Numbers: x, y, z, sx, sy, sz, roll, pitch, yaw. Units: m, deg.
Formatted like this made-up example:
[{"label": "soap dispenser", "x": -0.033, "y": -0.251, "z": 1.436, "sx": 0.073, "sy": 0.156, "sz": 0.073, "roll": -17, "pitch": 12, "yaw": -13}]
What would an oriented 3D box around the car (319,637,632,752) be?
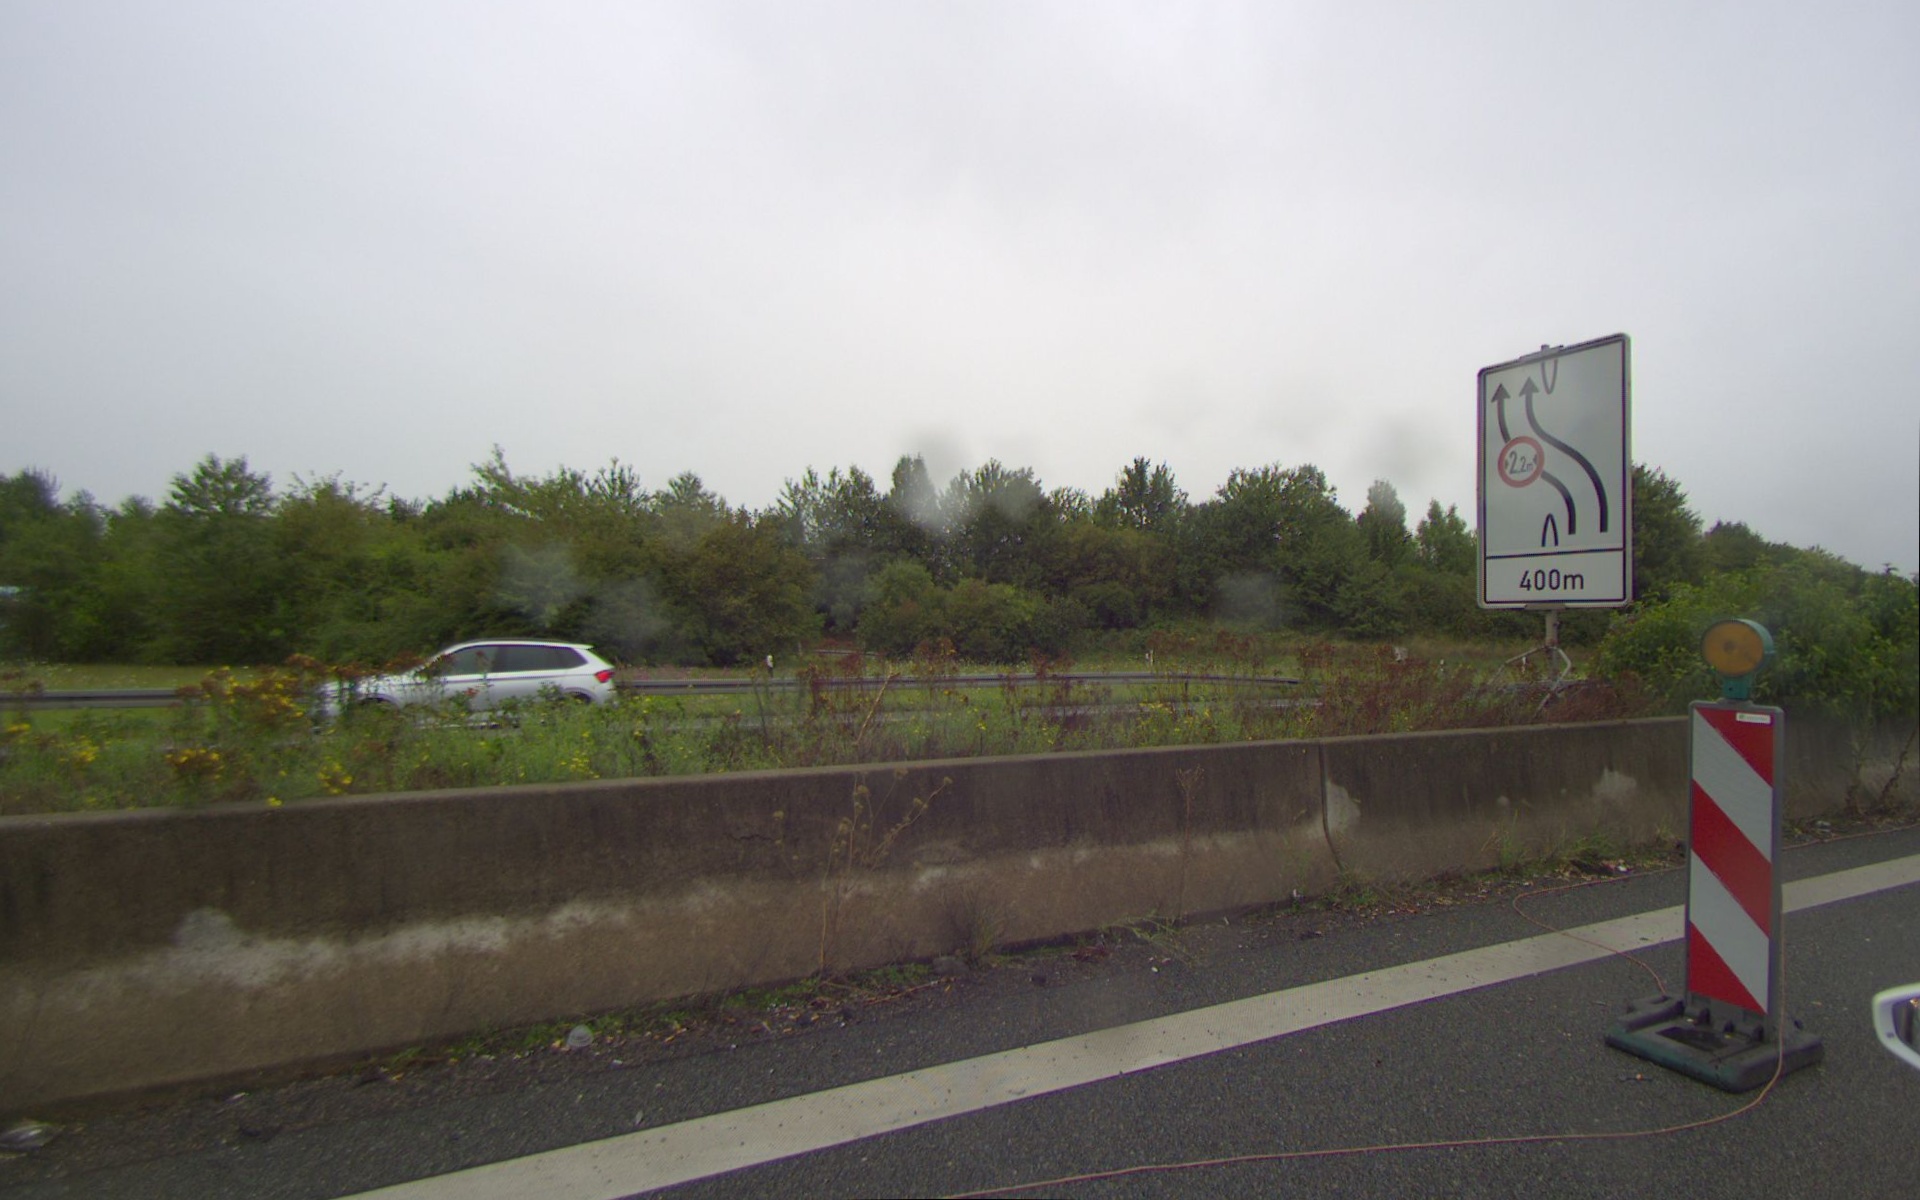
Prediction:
[{"label": "car", "x": -7.303, "y": 1.340, "z": 15.358, "sx": 4.059, "sy": 1.499, "sz": 1.985, "roll": 1, "pitch": -2, "yaw": -29}]
